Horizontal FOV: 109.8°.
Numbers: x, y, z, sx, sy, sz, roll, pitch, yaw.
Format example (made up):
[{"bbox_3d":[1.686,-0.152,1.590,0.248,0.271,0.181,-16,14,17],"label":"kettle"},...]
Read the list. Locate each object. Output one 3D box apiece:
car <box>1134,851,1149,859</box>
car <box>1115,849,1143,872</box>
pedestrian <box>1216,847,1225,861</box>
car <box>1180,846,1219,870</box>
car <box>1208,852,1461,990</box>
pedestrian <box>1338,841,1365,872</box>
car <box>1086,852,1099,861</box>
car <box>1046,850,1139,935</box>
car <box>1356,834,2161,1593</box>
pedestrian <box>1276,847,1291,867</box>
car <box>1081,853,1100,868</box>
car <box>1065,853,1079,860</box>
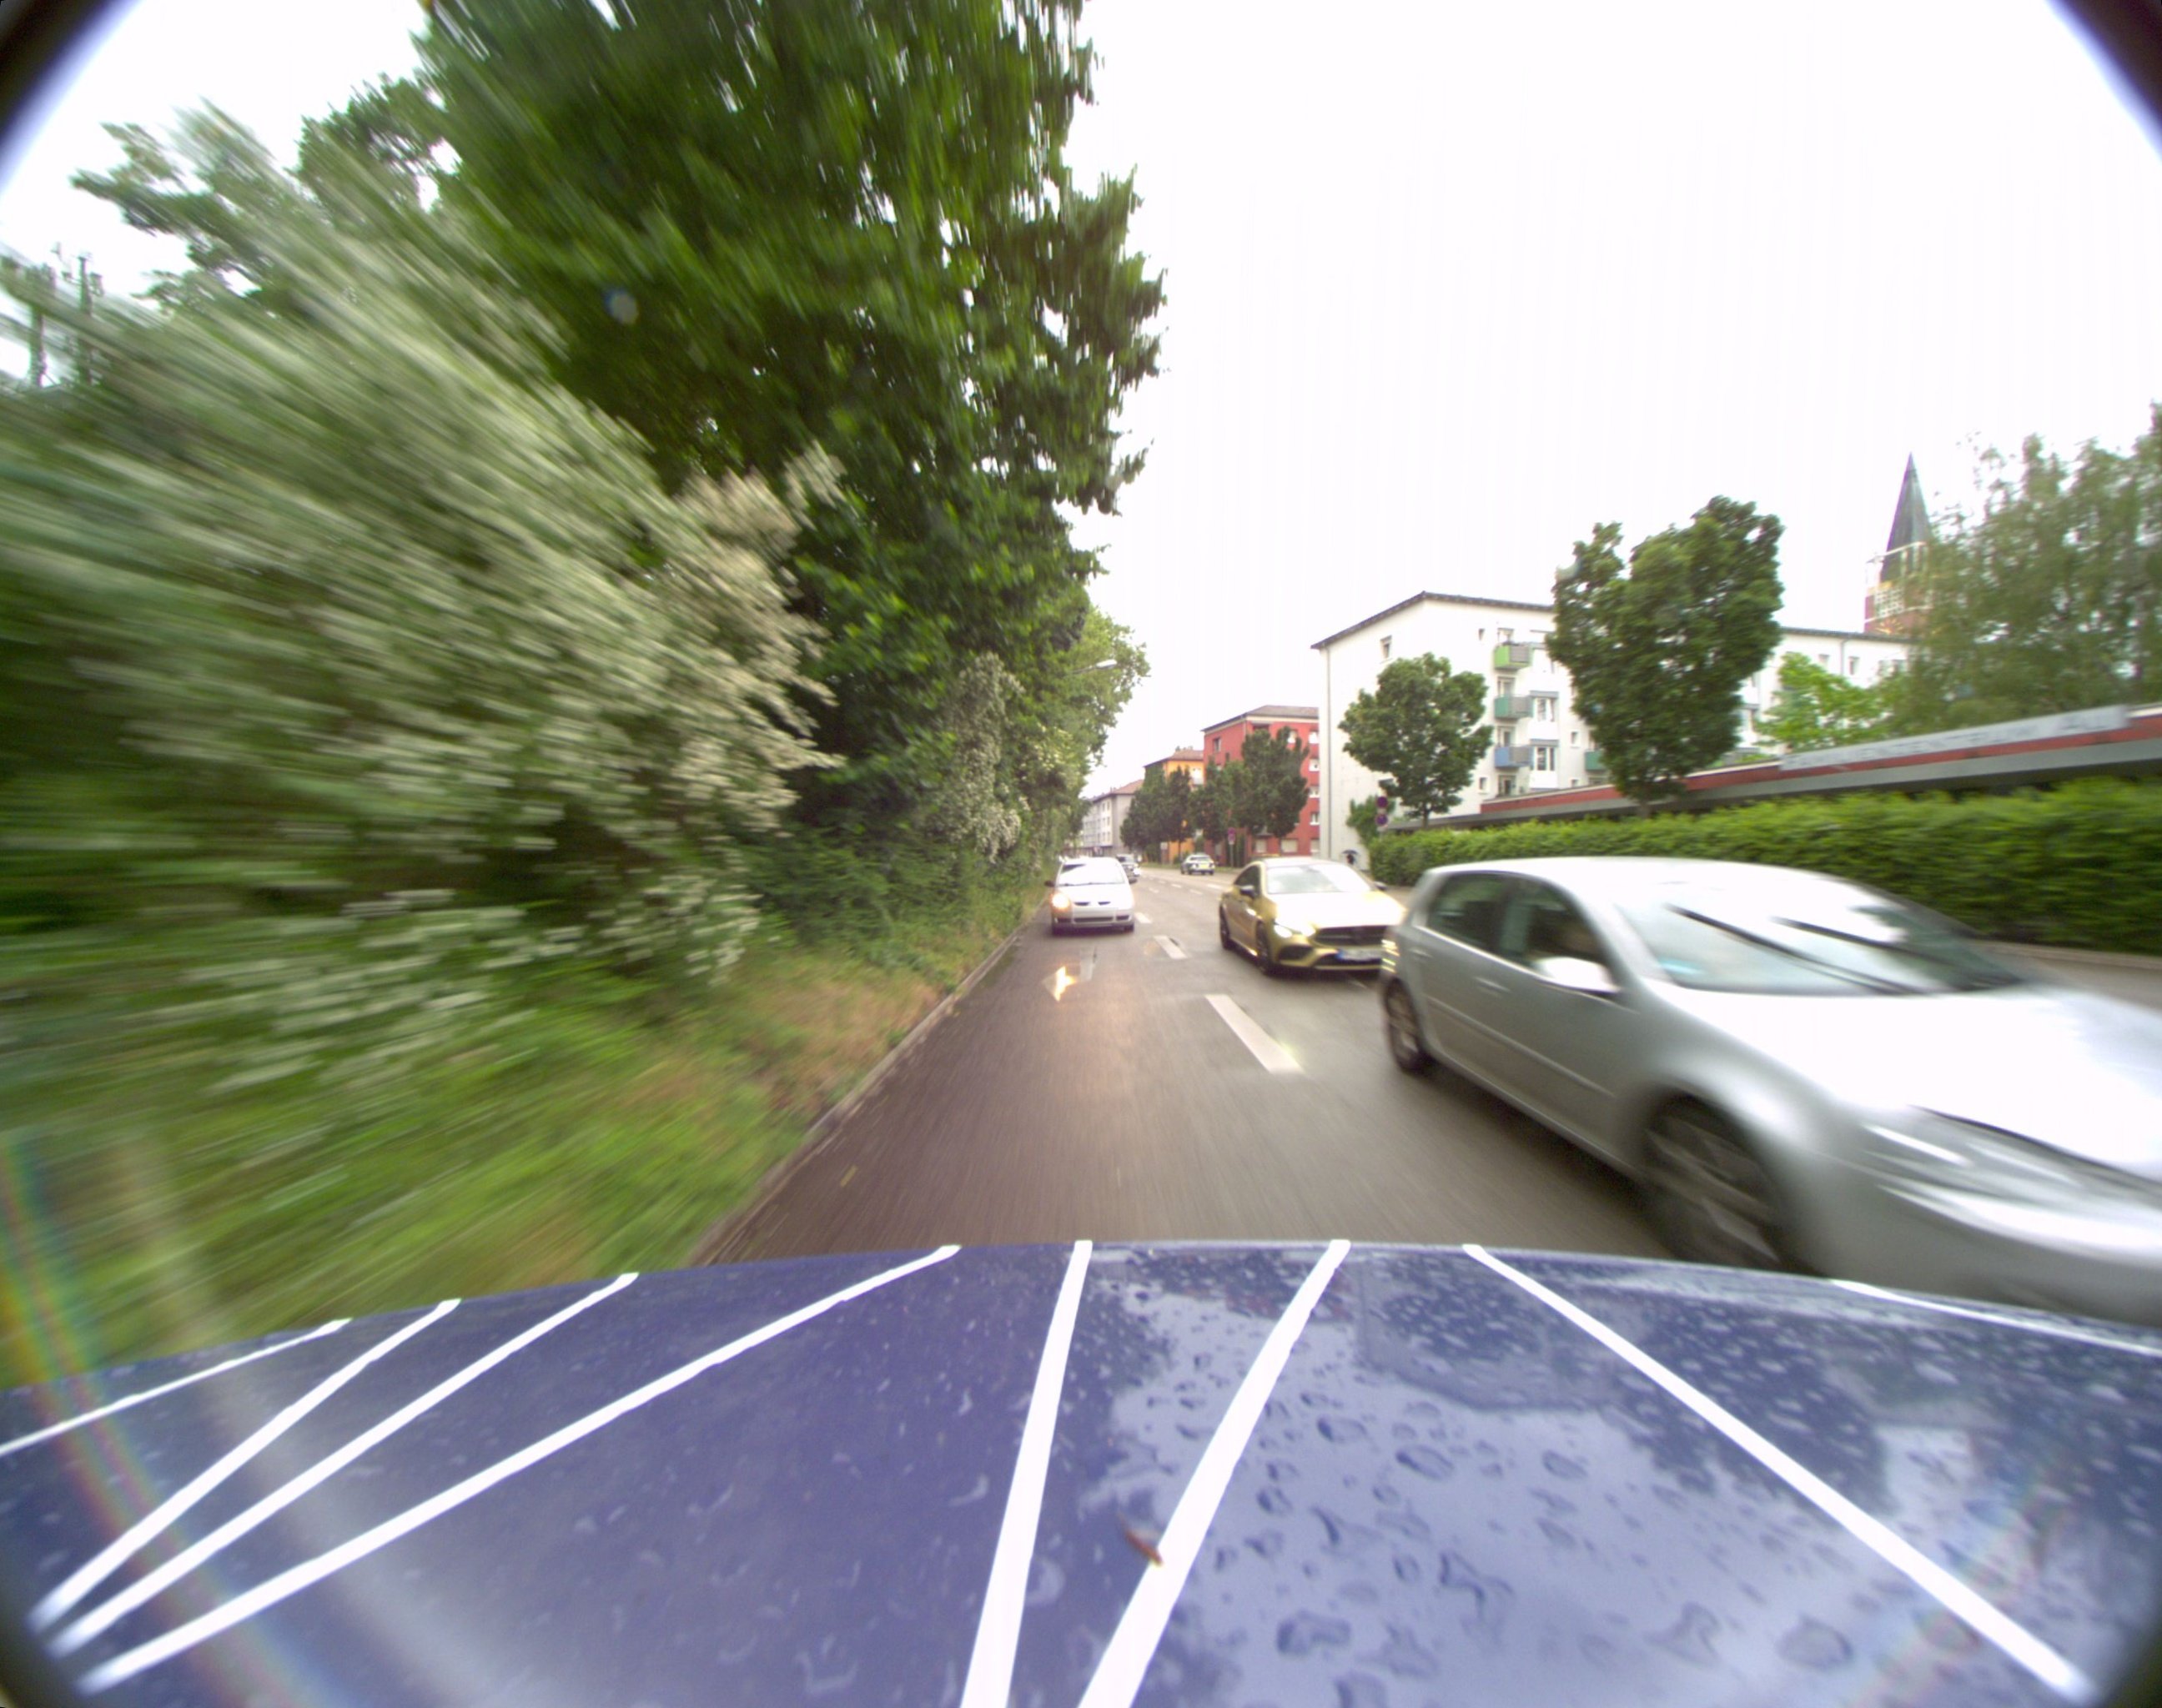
[{"bbox_3d":[11.172,0.163,139.846,1.736,1.516,4.224,0,0,-11],"label":"car"},{"bbox_3d":[3.543,0.446,56.724,1.736,1.590,3.999,-1,1,-1],"label":"car"},{"bbox_3d":[14.107,0.027,76.903,0.673,1.441,0.835,0,0,-9],"label":"pedestrian"},{"bbox_3d":[8.878,0.302,57.343,1.999,1.739,4.806,-1,0,-3],"label":"car"},{"bbox_3d":[3.152,0.730,10.598,2.071,1.456,4.586,-1,1,1],"label":"car"},{"bbox_3d":[16.079,0.167,45.155,1.137,1.793,1.262,0,0,-3],"label":"pedestrian"},{"bbox_3d":[2.236,0.452,149.096,1.853,1.536,4.243,-3,1,-10],"label":"car"},{"bbox_3d":[0.235,0.725,16.565,1.755,1.587,4.168,-1,1,0],"label":"car"},{"bbox_3d":[2.904,0.685,3.550,1.748,1.478,4.161,0,0,0],"label":"car"},{"bbox_3d":[15.420,0.213,57.926,0.694,1.508,1.069,0,0,-9],"label":"pedestrian"},{"bbox_3d":[1.200,0.785,99.797,2.000,1.815,3.997,-3,1,-6],"label":"car"},{"bbox_3d":[-1.878,0.411,156.422,1.880,1.382,4.622,1,0,-11],"label":"car"}]
